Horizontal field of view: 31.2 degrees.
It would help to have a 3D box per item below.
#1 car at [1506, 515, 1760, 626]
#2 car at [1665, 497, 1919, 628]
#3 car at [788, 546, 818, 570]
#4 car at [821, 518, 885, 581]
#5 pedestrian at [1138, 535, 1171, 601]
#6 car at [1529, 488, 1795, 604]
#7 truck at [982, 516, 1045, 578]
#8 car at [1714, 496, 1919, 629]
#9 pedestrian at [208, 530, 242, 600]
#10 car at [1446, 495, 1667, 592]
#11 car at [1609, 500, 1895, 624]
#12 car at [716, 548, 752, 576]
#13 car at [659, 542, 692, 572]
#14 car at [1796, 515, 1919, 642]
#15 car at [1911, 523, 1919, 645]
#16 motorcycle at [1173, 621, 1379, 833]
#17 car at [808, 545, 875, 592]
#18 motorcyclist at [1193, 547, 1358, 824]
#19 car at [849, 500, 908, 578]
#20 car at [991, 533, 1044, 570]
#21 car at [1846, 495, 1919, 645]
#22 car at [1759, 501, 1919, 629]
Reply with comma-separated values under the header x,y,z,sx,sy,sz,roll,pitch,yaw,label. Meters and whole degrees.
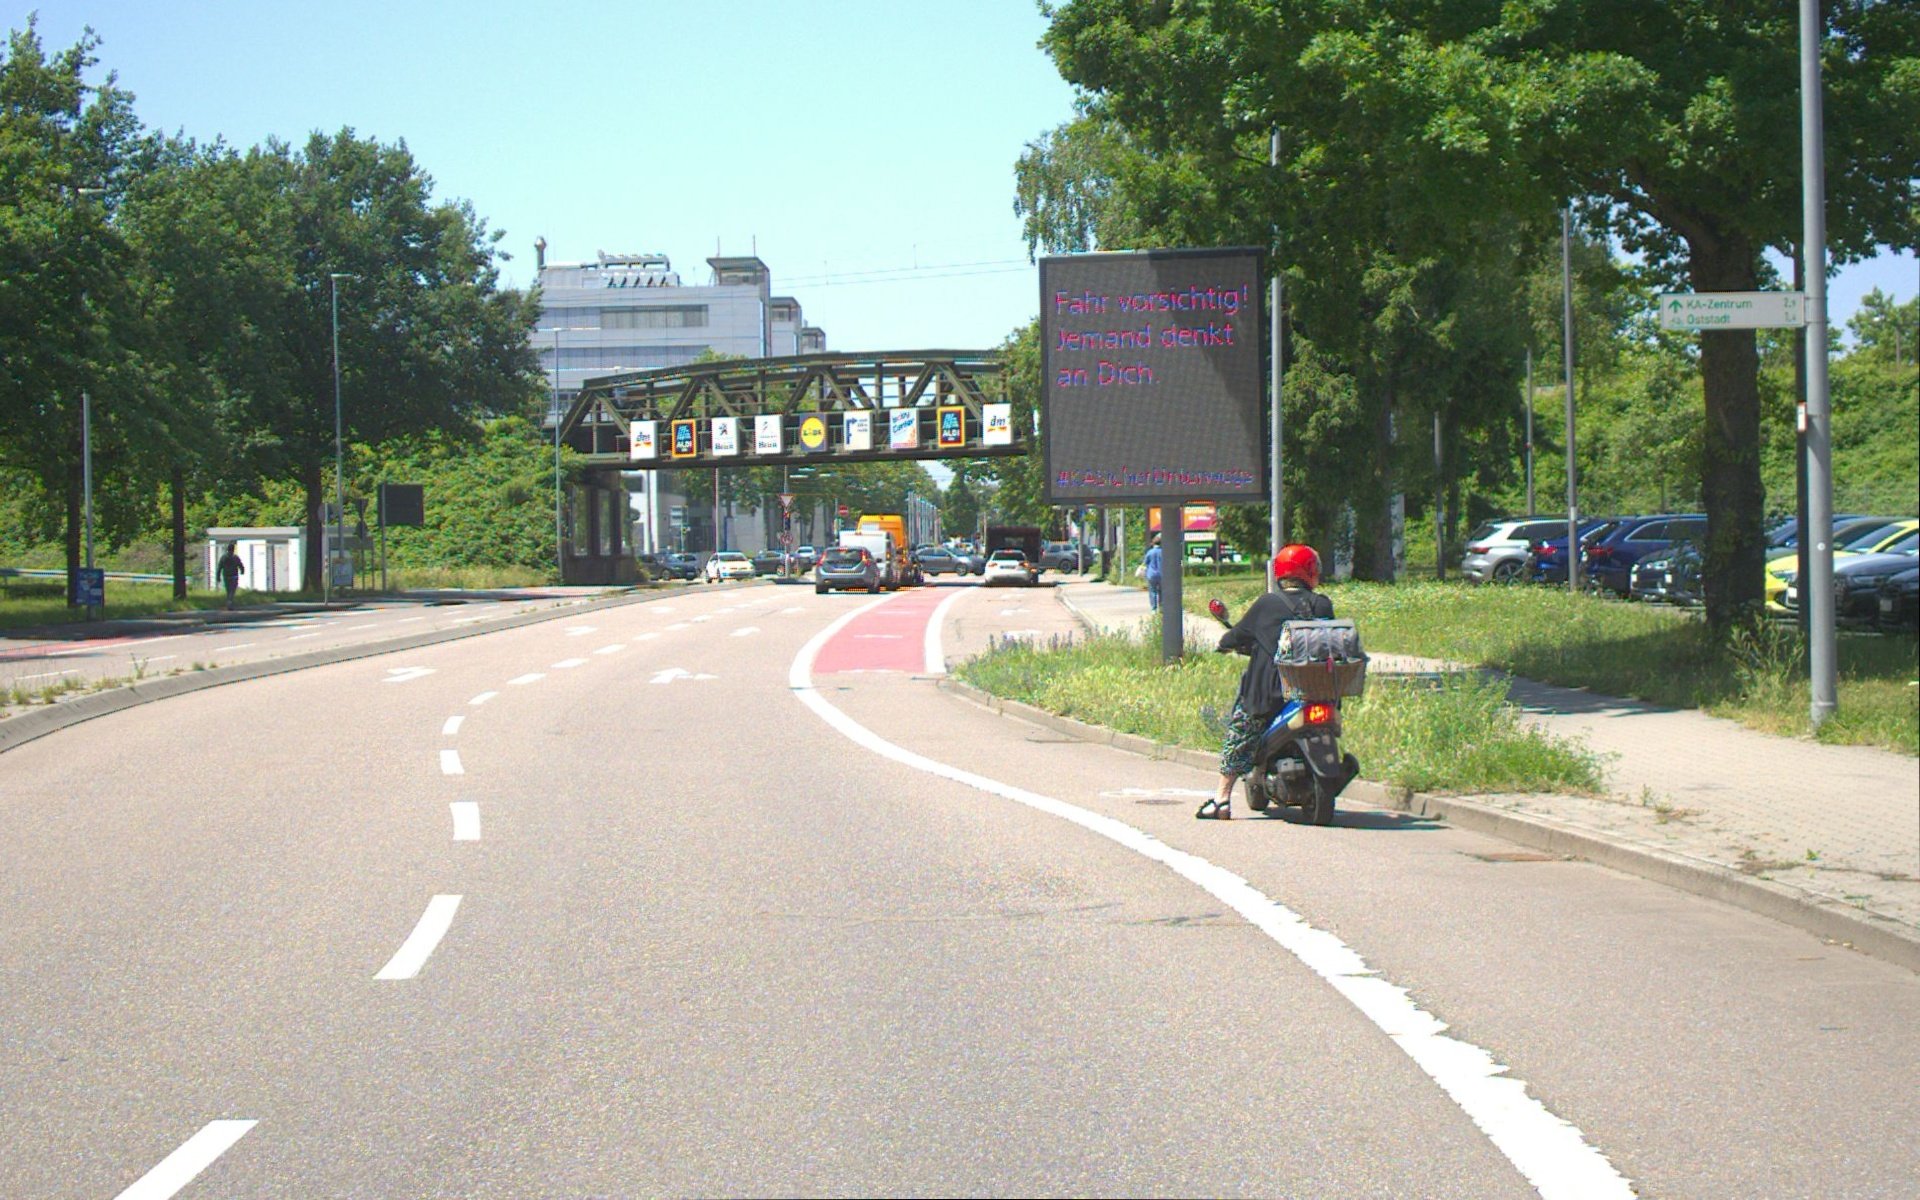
x,y,z,sx,sy,sz,roll,pitch,yaw,label
11.591,-0.522,59.368,3.860,1.598,1.798,4,1,-4,car
12.207,-0.509,48.808,3.860,1.598,1.798,4,1,-4,car
-8.647,-2.317,189.178,1.595,1.327,3.274,-1,1,-4,car
-3.499,-1.668,112.903,1.993,2.007,4.000,0,1,0,car
4.022,-0.664,71.128,0.623,1.370,0.564,-1,1,-1,pedestrian
11.545,-0.890,56.705,3.860,1.598,1.798,4,1,-4,car
2.141,-2.183,140.060,2.458,2.402,7.134,1,1,0,truck
12.372,-0.449,46.344,3.860,1.598,1.798,4,1,-4,car
-19.747,-0.936,92.380,0.743,1.877,0.577,-1,1,1,pedestrian
11.673,-1.107,67.435,3.860,1.598,1.798,4,1,-4,car
12.247,-0.593,53.312,3.860,1.598,1.798,4,1,-4,car
-11.002,-1.852,167.241,1.595,1.327,3.275,-1,1,-6,car
-16.859,-2.559,203.656,1.715,1.726,3.807,-1,1,-2,car
12.293,-0.158,41.185,3.986,1.418,1.798,4,1,-4,car
12.188,-0.077,35.730,3.986,1.435,1.798,4,1,-4,car
1.764,0.691,19.462,0.716,1.101,1.831,1,1,-9,motorcycle
-3.615,-0.973,105.604,1.900,1.371,4.232,-1,1,0,car
1.773,0.468,19.418,0.719,1.524,0.871,1,1,-9,motorcyclist
-3.065,-2.318,130.269,2.073,2.845,6.765,-1,1,0,car
2.186,-1.866,131.305,1.924,1.415,4.000,0,1,0,car
12.199,-0.203,38.382,3.986,1.619,1.798,4,1,-4,car
12.406,-0.365,43.849,3.860,1.497,1.798,4,1,-4,car
